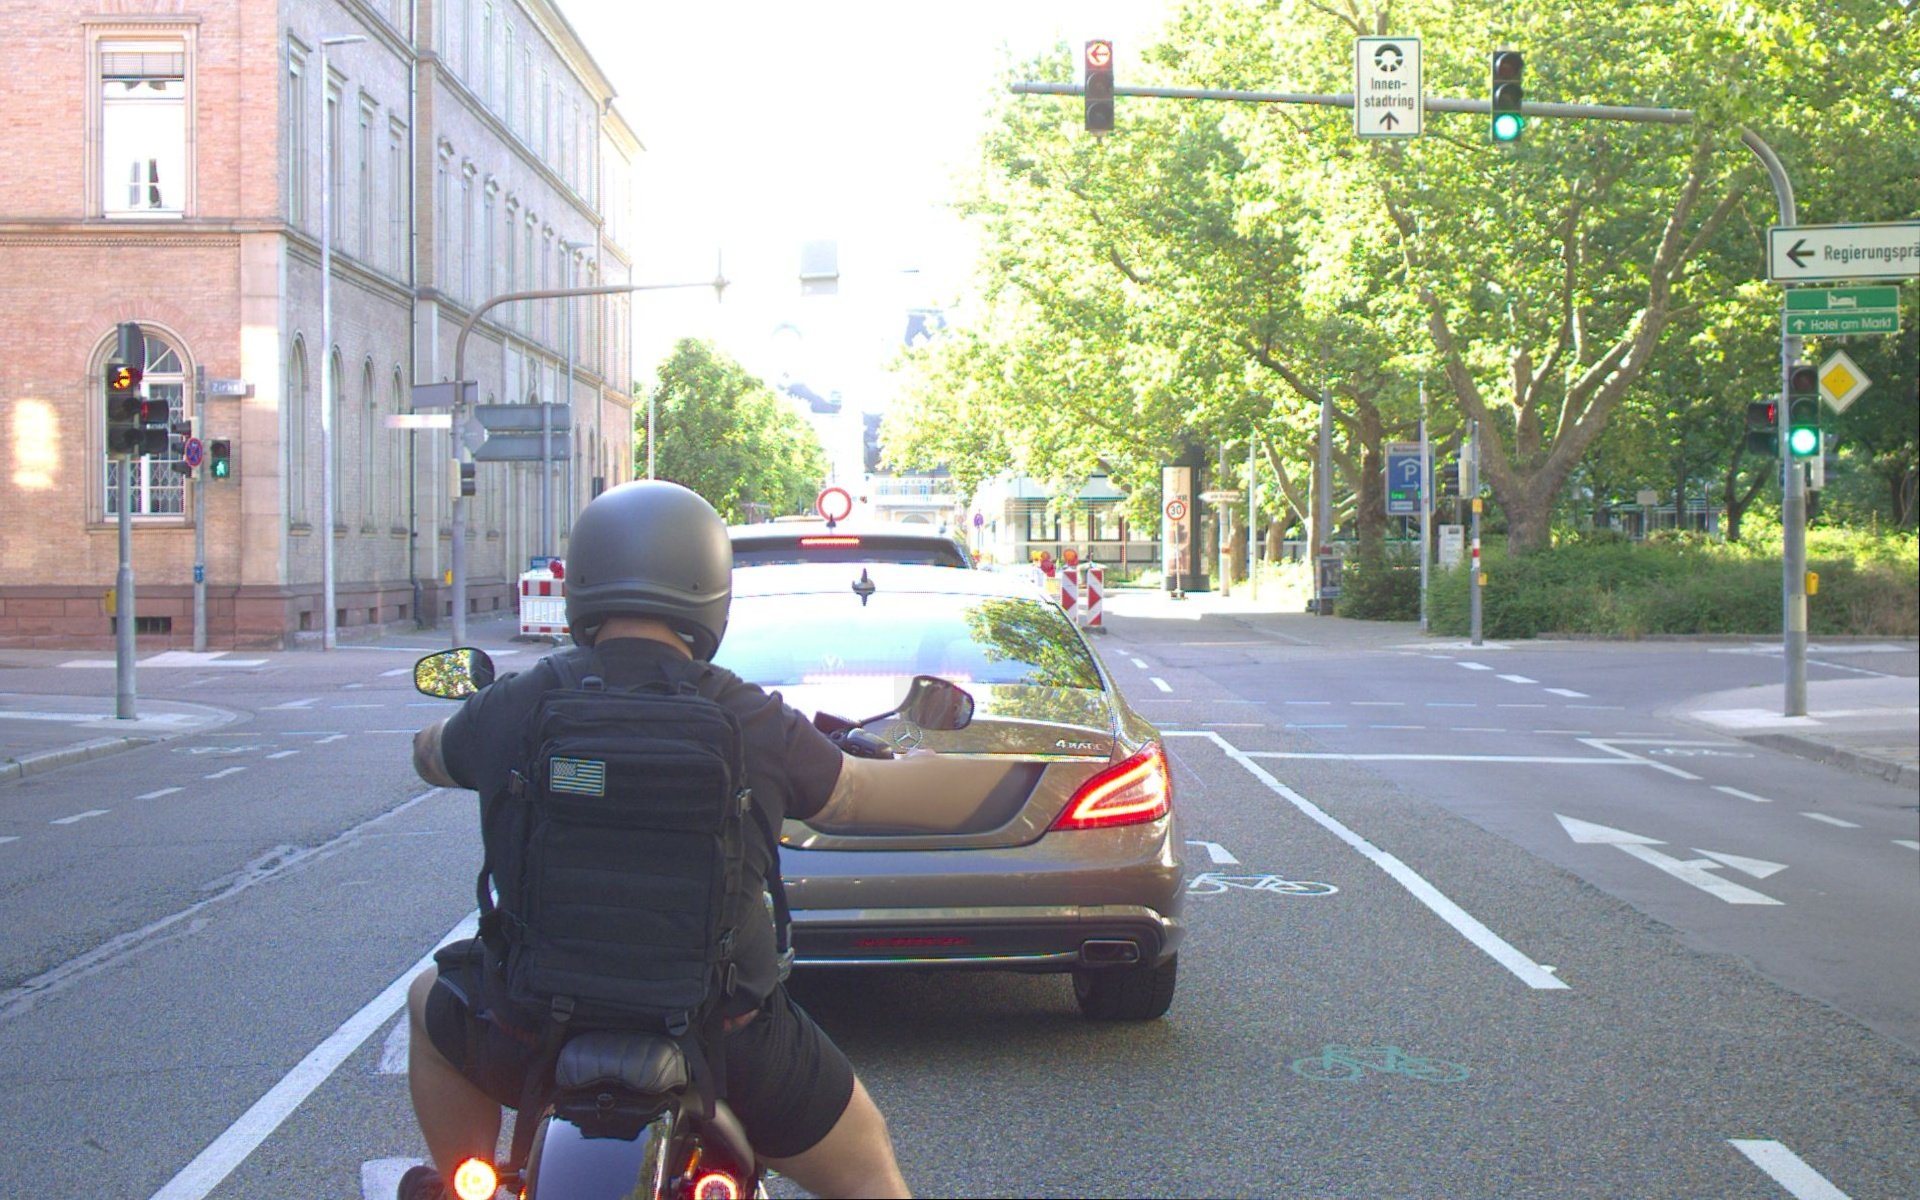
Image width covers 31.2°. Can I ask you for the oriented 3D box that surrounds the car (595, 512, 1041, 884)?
[{"bbox_3d":[-0.666,0.424,17.567,1.993,1.660,4.000,1,1,-1],"label":"car"}]

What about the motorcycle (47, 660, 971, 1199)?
[{"bbox_3d":[-0.492,0.763,4.866,0.980,1.271,2.407,0,1,-1],"label":"motorcycle"}]

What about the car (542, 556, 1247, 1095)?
[{"bbox_3d":[-0.433,0.582,11.645,1.869,1.439,4.431,0,1,-8],"label":"car"}]

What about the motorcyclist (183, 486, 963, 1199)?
[{"bbox_3d":[-0.493,0.631,4.962,0.980,1.573,1.248,0,1,-1],"label":"motorcyclist"}]
